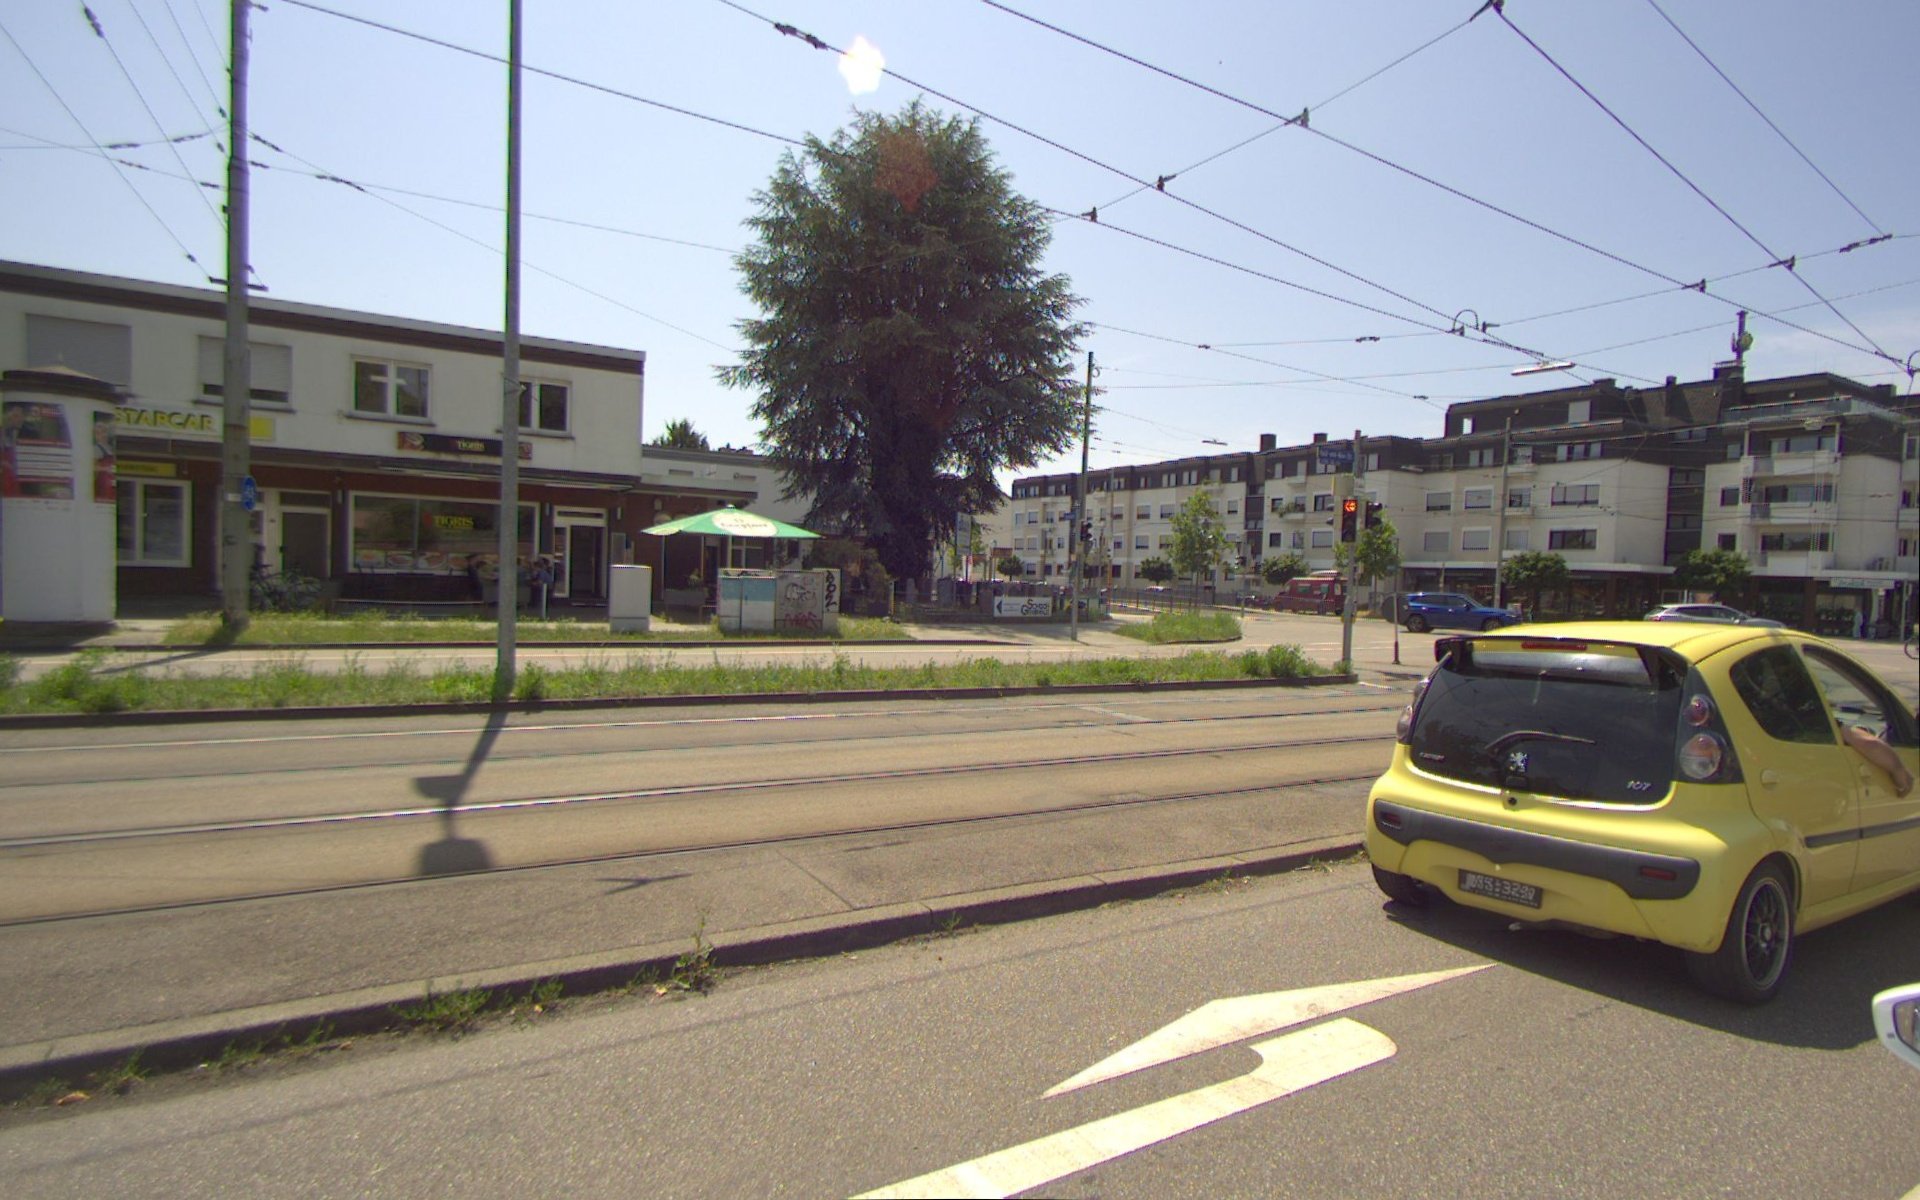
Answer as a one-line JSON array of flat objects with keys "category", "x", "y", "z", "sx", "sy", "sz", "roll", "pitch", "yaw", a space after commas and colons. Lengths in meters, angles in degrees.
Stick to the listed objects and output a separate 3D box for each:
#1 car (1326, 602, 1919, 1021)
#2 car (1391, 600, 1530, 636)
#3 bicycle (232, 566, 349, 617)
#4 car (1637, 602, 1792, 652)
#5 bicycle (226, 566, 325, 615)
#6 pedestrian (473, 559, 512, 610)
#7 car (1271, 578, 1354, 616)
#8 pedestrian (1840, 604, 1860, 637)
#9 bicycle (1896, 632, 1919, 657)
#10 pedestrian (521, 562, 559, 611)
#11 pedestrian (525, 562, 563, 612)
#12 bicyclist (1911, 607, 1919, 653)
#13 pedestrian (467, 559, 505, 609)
[{"category": "car", "x": 3.653, "y": 0.763, "z": 5.111, "sx": 3.254, "sy": 1.464, "sz": 1.715, "roll": 1, "pitch": 0, "yaw": -31}, {"category": "car", "x": 20.129, "y": 0.709, "z": 40.510, "sx": 4.712, "sy": 1.253, "sz": 1.930, "roll": 2, "pitch": 0, "yaw": 40}, {"category": "bicycle", "x": -14.183, "y": -0.167, "z": 21.353, "sx": 2.006, "sy": 0.992, "sz": 0.607, "roll": 2, "pitch": 0, "yaw": -31}, {"category": "car", "x": 27.325, "y": 0.955, "z": 36.547, "sx": 4.071, "sy": 1.605, "sz": 1.939, "roll": 2, "pitch": 0, "yaw": 22}, {"category": "bicycle", "x": -15.196, "y": -0.202, "z": 22.345, "sx": 1.738, "sy": 0.992, "sz": 0.536, "roll": 2, "pitch": 0, "yaw": -31}, {"category": "pedestrian", "x": -12.111, "y": -0.392, "z": 26.035, "sx": 0.832, "sy": 1.285, "sz": 0.586, "roll": 2, "pitch": 0, "yaw": -30}, {"category": "car", "x": 23.888, "y": -0.211, "z": 68.274, "sx": 2.219, "sy": 2.372, "sz": 5.038, "roll": 2, "pitch": 0, "yaw": -31}, {"category": "pedestrian", "x": 49.593, "y": 1.139, "z": 55.973, "sx": 0.598, "sy": 1.777, "sz": 0.506, "roll": 2, "pitch": 0, "yaw": 16}, {"category": "bicycle", "x": 32.322, "y": 1.508, "z": 33.202, "sx": 1.948, "sy": 0.793, "sz": 0.466, "roll": 2, "pitch": 0, "yaw": 21}, {"category": "pedestrian", "x": -11.414, "y": -0.371, "z": 27.290, "sx": 0.832, "sy": 1.285, "sz": 0.586, "roll": 2, "pitch": 0, "yaw": -30}, {"category": "pedestrian", "x": -11.057, "y": -0.340, "z": 26.688, "sx": 0.832, "sy": 1.285, "sz": 0.586, "roll": 2, "pitch": 0, "yaw": -30}, {"category": "bicyclist", "x": 32.145, "y": 1.016, "z": 33.278, "sx": 0.737, "sy": 1.521, "sz": 0.482, "roll": 2, "pitch": 0, "yaw": 21}, {"category": "pedestrian", "x": -12.571, "y": -0.414, "z": 26.646, "sx": 0.832, "sy": 1.285, "sz": 0.586, "roll": 2, "pitch": 0, "yaw": -30}]
